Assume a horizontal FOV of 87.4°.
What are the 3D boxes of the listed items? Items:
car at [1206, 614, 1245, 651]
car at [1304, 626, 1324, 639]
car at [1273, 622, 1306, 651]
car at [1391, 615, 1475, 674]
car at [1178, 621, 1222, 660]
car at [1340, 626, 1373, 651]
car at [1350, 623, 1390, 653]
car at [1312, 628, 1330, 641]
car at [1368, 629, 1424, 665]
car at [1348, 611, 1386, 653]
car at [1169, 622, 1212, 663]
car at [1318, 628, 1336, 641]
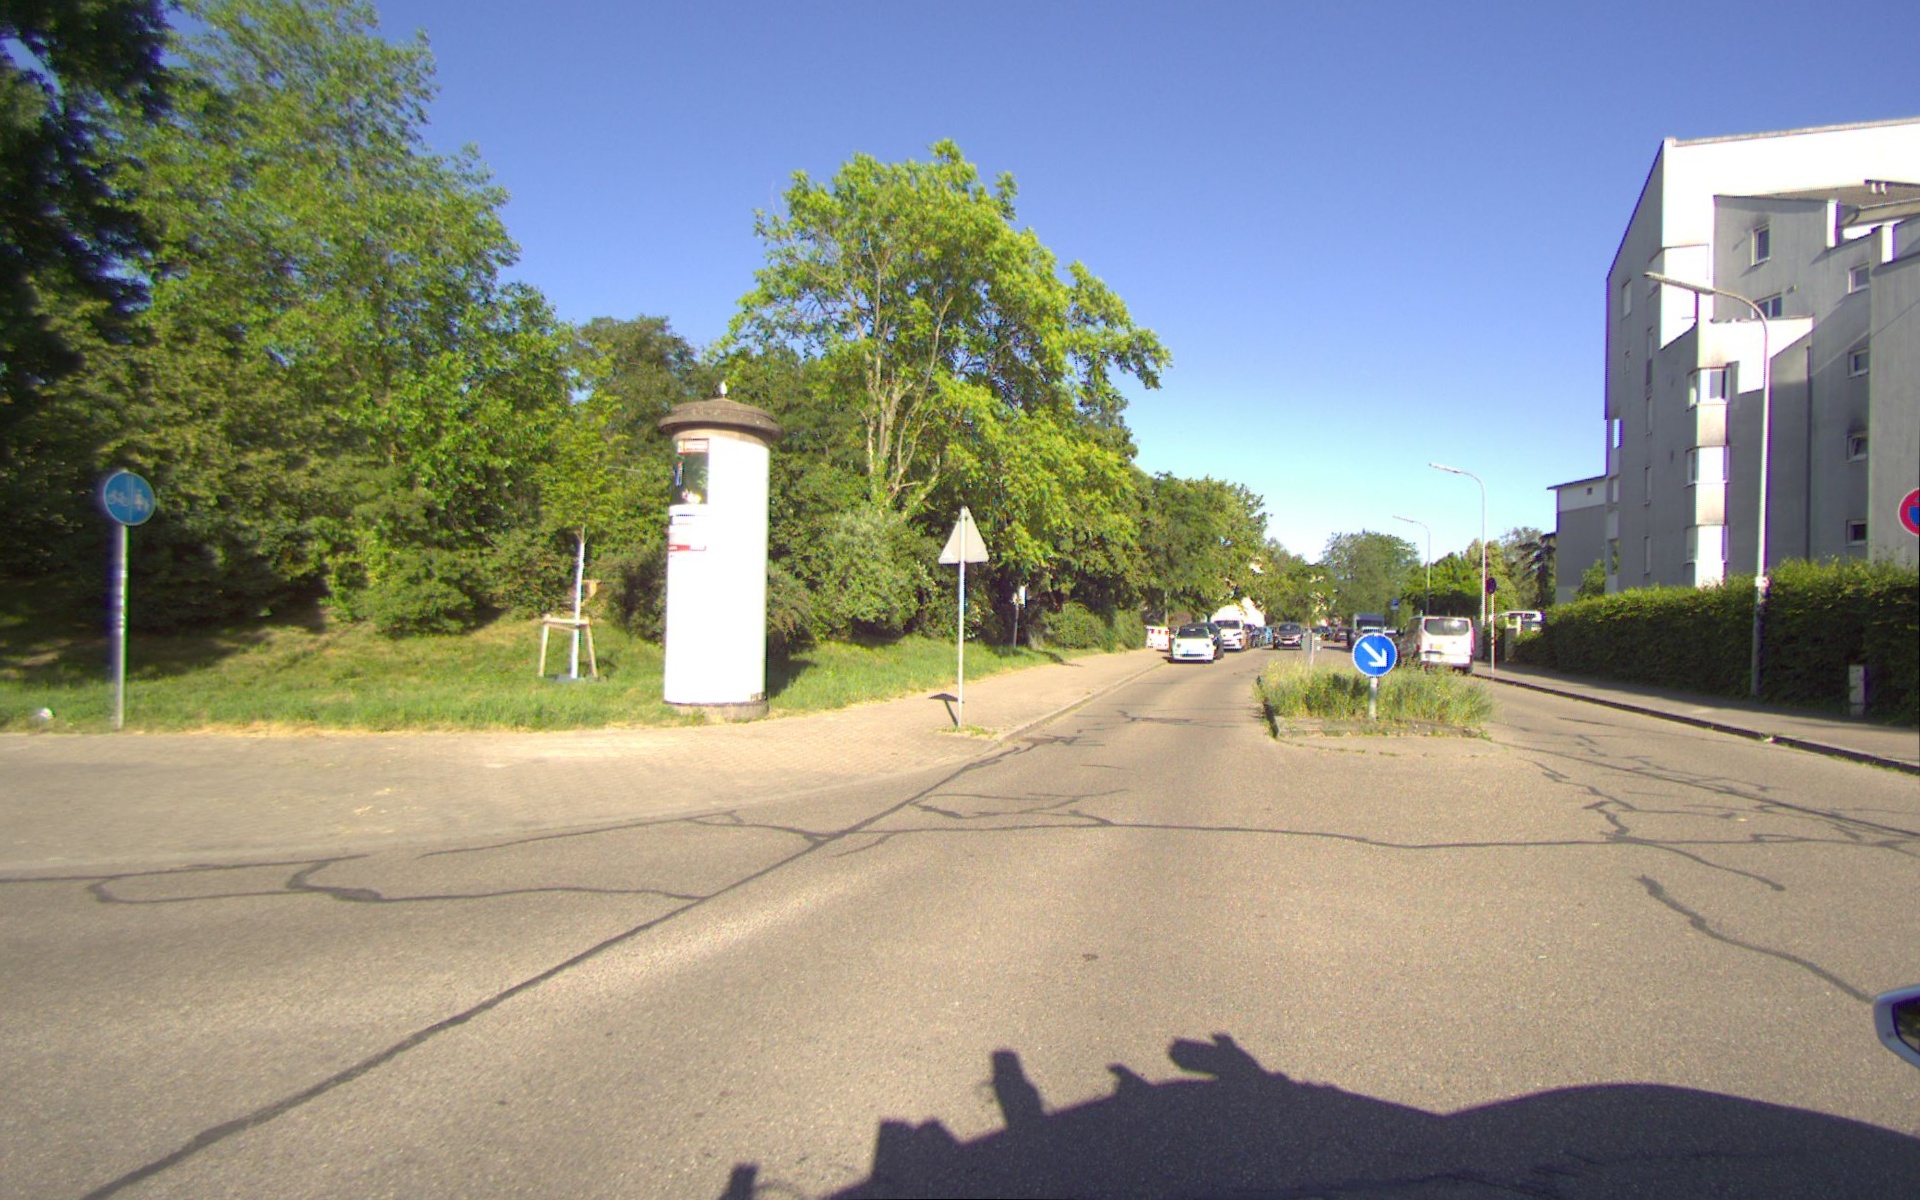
[{"bbox_3d":[15.181,1.833,57.263,1.832,1.987,4.671,0,-1,19],"label":"car"},{"bbox_3d":[37.903,3.480,107.490,1.634,1.445,4.047,-1,-2,24],"label":"car"},{"bbox_3d":[20.712,2.271,63.043,1.881,1.728,4.186,0,-1,19],"label":"car"},{"bbox_3d":[16.892,1.543,36.085,1.960,1.937,4.956,1,-1,16],"label":"car"},{"bbox_3d":[10.964,1.811,45.648,1.646,1.660,4.252,-1,-1,17],"label":"car"},{"bbox_3d":[28.437,2.761,72.102,1.878,1.688,4.376,1,-1,18],"label":"car"},{"bbox_3d":[24.561,2.272,60.300,1.878,1.688,4.376,1,-1,18],"label":"car"},{"bbox_3d":[40.292,3.810,112.041,1.634,1.445,3.813,-1,-2,24],"label":"car"},{"bbox_3d":[19.925,2.106,46.053,1.878,1.508,4.376,1,-1,18],"label":"car"},{"bbox_3d":[26.509,2.066,65.613,2.070,2.519,5.856,2,-1,21],"label":"car"},{"bbox_3d":[9.277,1.681,40.544,1.598,1.548,3.422,1,-1,12],"label":"car"},{"bbox_3d":[42.672,3.968,116.665,1.634,1.445,3.869,-1,-2,24],"label":"car"}]
